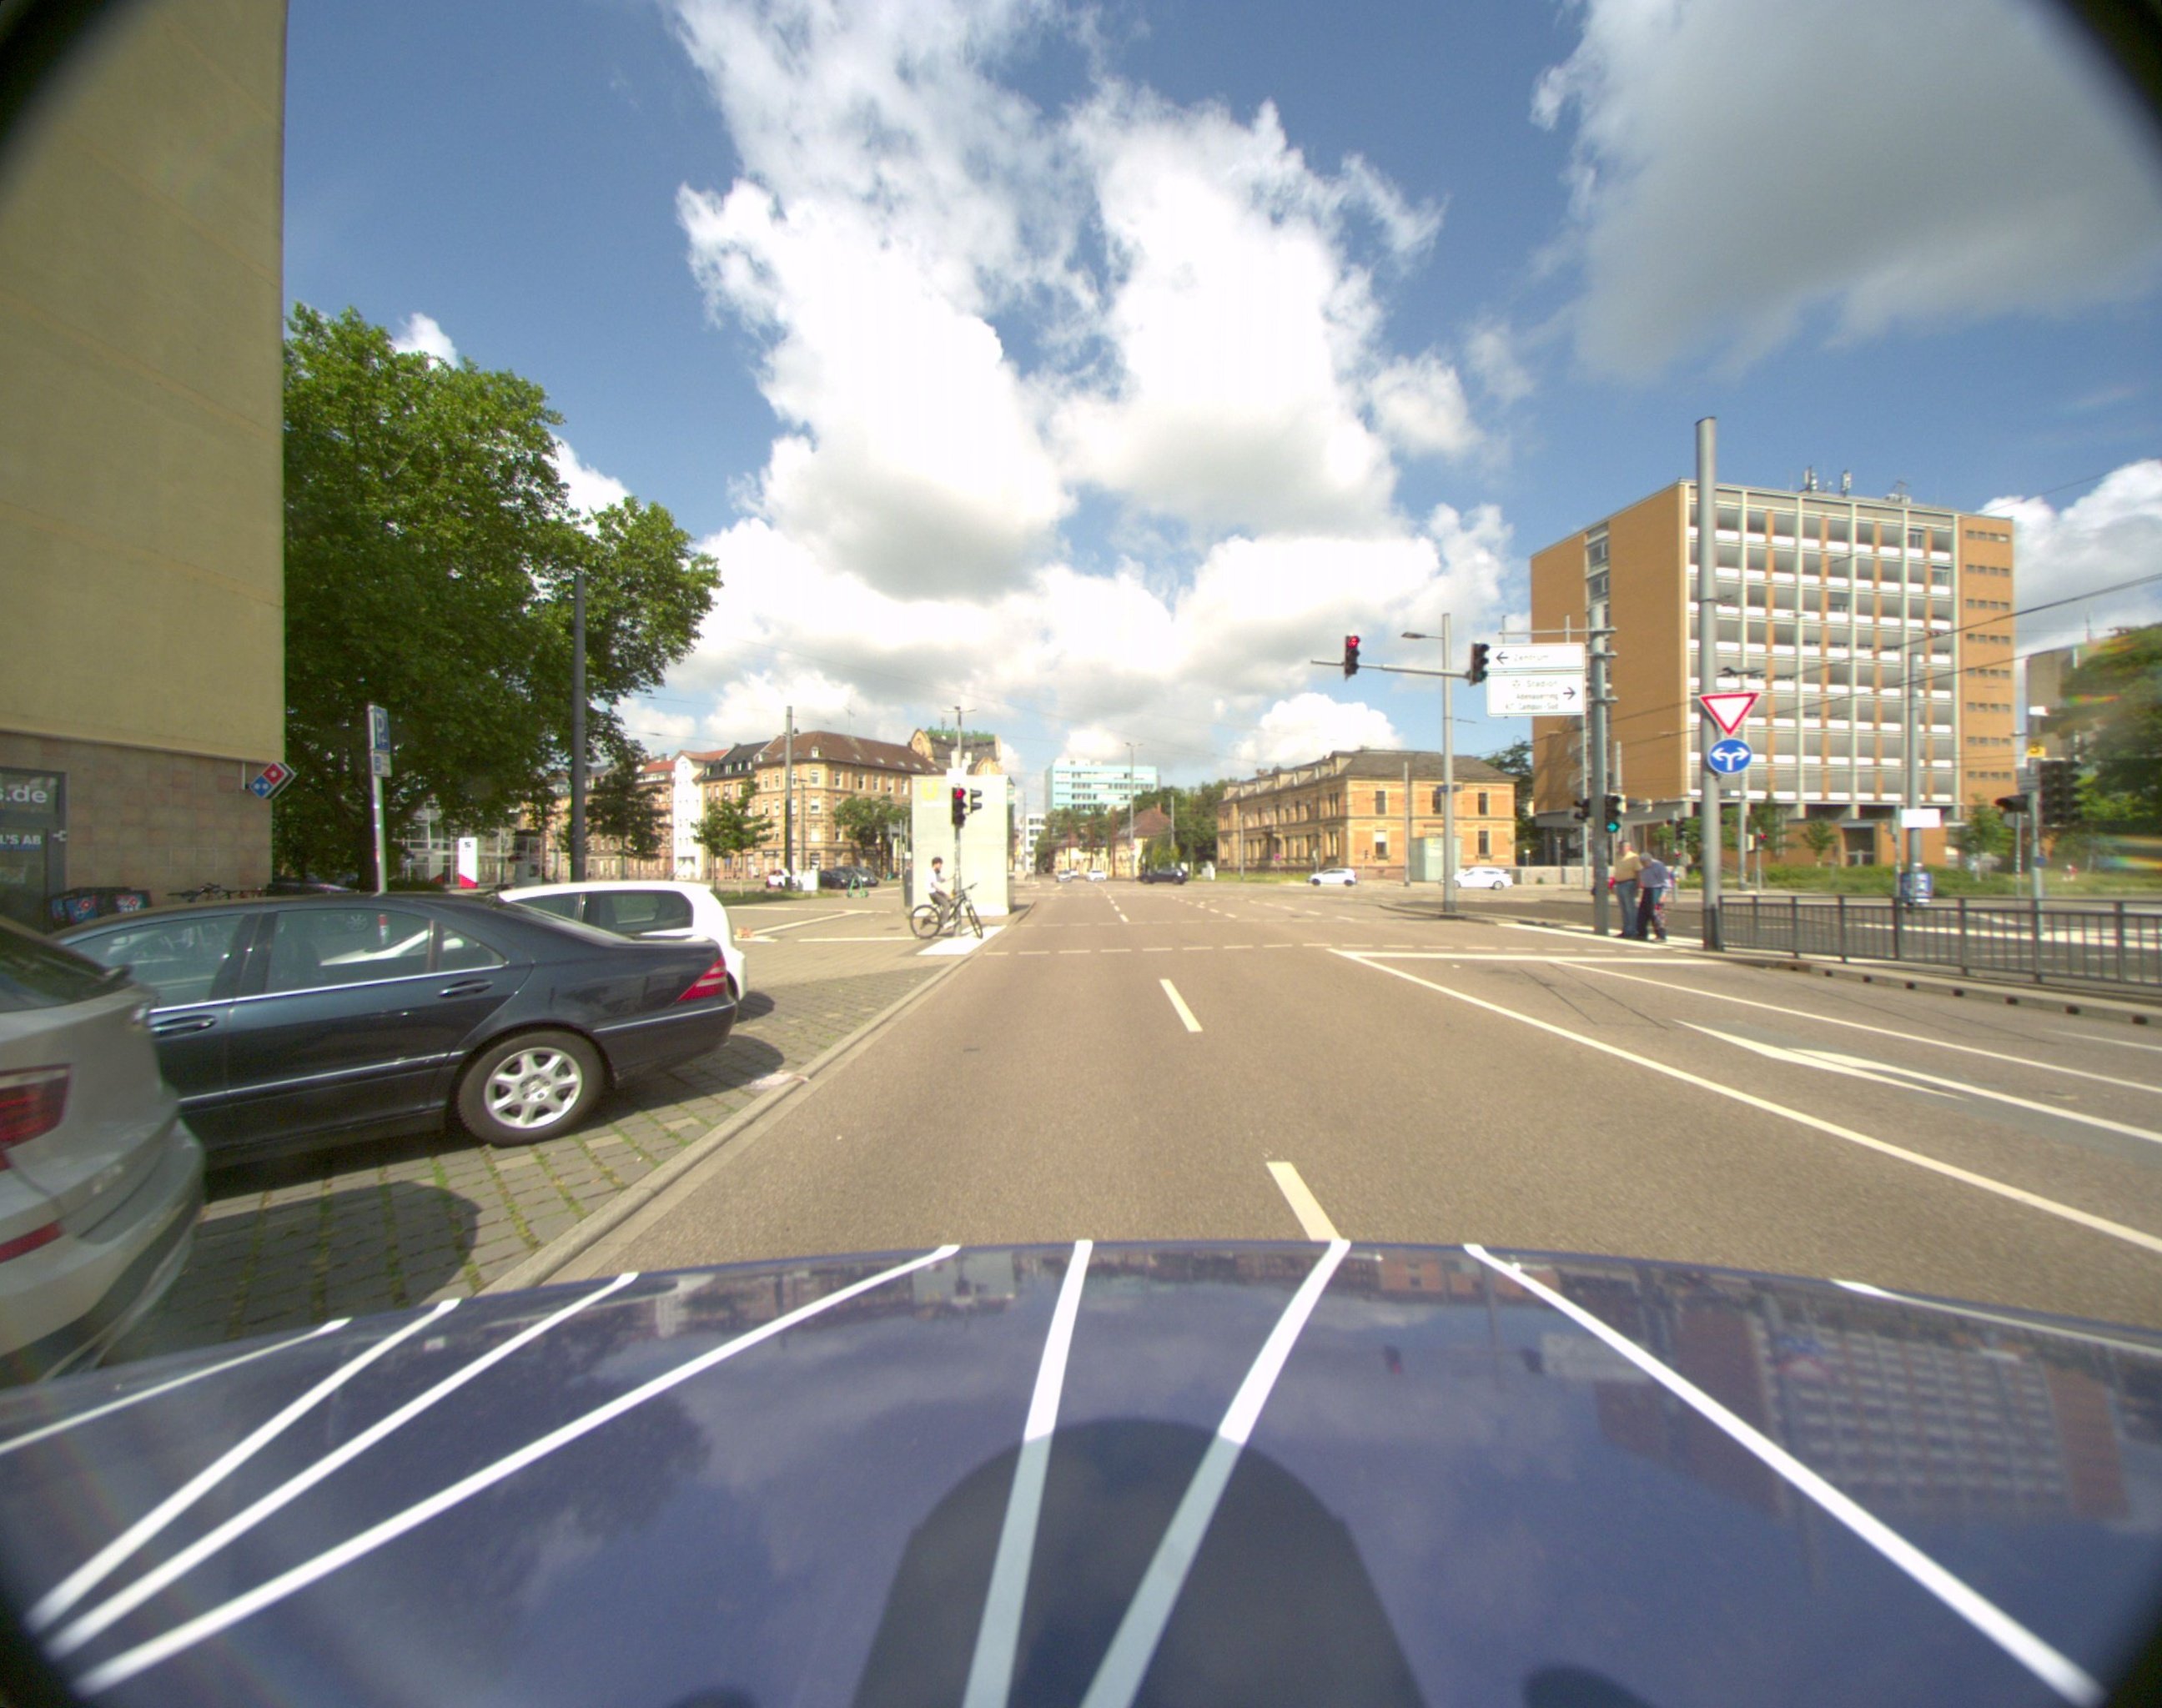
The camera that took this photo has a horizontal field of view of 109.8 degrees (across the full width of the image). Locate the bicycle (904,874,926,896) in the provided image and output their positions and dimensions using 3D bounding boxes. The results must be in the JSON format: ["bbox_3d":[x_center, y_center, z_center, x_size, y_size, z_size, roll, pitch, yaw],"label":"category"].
[{"bbox_3d":[-9.308,1.725,42.592,0.663,1.114,2.332,0,0,1],"label":"bicycle"}]

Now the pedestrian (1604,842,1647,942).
[{"bbox_3d":[11.084,0.765,15.474,0.427,2.002,0.578,0,0,-10],"label":"pedestrian"}]

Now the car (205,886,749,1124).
[{"bbox_3d":[-5.173,1.109,6.994,3.503,1.445,1.774,-1,0,-39],"label":"car"}]

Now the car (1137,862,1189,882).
[{"bbox_3d":[7.101,1.573,65.807,4.203,1.566,1.650,-1,-3,20],"label":"car"}]

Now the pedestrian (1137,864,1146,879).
[{"bbox_3d":[6.046,1.710,75.914,0.543,1.507,0.744,0,0,41],"label":"pedestrian"}]

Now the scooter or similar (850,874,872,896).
[{"bbox_3d":[-11.642,1.641,40.218,1.067,1.189,0.381,1,-3,-36],"label":"scooter or similar"}]

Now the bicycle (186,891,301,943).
[{"bbox_3d":[-13.448,0.989,12.254,0.293,0.734,1.452,0,-1,-2],"label":"bicycle"}]

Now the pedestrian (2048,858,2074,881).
[{"bbox_3d":[67.752,1.093,52.534,0.770,1.569,0.955,0,0,-28],"label":"pedestrian"}]

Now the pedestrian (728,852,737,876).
[{"bbox_3d":[-46.657,1.342,101.678,0.885,3.056,0.729,-2,-3,42],"label":"pedestrian"}]

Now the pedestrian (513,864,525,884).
[{"bbox_3d":[-54.850,1.938,74.144,0.704,2.001,0.871,0,0,-14],"label":"pedestrian"}]

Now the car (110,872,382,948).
[{"bbox_3d":[-19.071,1.194,17.683,1.808,1.505,4.096,0,-1,0],"label":"car"}]

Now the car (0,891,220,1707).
[{"bbox_3d":[-4.336,0.940,0.603,4.606,1.637,2.056,0,-1,-41],"label":"car"}]

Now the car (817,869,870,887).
[{"bbox_3d":[-18.103,1.807,57.775,3.929,1.368,1.875,-1,-1,36],"label":"car"}]

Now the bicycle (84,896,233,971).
[{"bbox_3d":[-12.671,1.058,10.498,0.293,0.917,1.611,0,-1,-8],"label":"bicycle"}]

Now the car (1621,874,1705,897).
[{"bbox_3d":[38.446,2.092,50.255,4.057,1.458,1.649,-1,-2,15],"label":"car"}]

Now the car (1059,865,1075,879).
[{"bbox_3d":[-1.688,2.211,91.485,1.837,1.586,4.001,0,-3,-1],"label":"car"}]

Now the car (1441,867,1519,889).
[{"bbox_3d":[28.114,1.724,53.697,4.665,1.420,1.766,-1,-3,18],"label":"car"}]

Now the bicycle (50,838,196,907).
[{"bbox_3d":[-13.424,0.251,10.704,0.293,0.917,1.452,0,-1,-4],"label":"bicycle"}]

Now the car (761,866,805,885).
[{"bbox_3d":[-24.323,1.752,62.011,3.646,1.460,1.695,-2,-3,38],"label":"car"}]

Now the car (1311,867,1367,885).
[{"bbox_3d":[20.530,1.791,60.501,4.068,1.376,1.592,-2,-3,25],"label":"car"}]

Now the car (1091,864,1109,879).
[{"bbox_3d":[2.186,2.090,88.173,1.956,1.586,4.508,0,-3,-1],"label":"car"}]

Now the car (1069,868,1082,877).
[{"bbox_3d":[-1.211,4.183,172.628,2.001,2.001,3.996,0,-3,-15],"label":"car"}]

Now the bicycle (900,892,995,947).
[{"bbox_3d":[-2.823,1.347,15.986,2.095,1.099,0.545,-2,-3,29],"label":"bicycle"}]

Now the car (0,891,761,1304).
[{"bbox_3d":[-4.483,1.097,4.174,4.608,1.451,1.934,-3,-1,-39],"label":"car"}]

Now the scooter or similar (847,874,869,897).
[{"bbox_3d":[-11.912,1.676,40.647,0.380,1.189,1.067,-2,-3,44],"label":"scooter or similar"}]

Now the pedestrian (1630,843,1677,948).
[{"bbox_3d":[11.085,0.787,14.710,0.503,2.002,0.515,0,0,-11],"label":"pedestrian"}]

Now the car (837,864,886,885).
[{"bbox_3d":[-17.743,1.691,61.310,3.726,1.564,2.005,-2,-3,38],"label":"car"}]

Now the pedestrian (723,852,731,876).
[{"bbox_3d":[-47.147,1.350,101.100,0.885,3.101,0.669,-2,-3,42],"label":"pedestrian"}]

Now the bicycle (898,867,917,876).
[{"bbox_3d":[-21.654,2.206,94.855,2.677,1.159,0.763,-1,0,35],"label":"bicycle"}]

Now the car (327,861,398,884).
[{"bbox_3d":[-55.273,1.431,58.483,3.993,1.714,2.003,-1,-2,11],"label":"car"}]

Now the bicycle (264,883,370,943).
[{"bbox_3d":[-12.617,0.951,12.595,0.293,0.878,1.464,0,1,-1],"label":"bicycle"}]

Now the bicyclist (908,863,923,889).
[{"bbox_3d":[-9.309,1.247,42.690,0.655,1.428,0.743,0,0,1],"label":"bicyclist"}]

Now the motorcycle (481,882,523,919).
[{"bbox_3d":[-18.097,1.417,23.736,0.976,1.024,2.288,-2,0,-38],"label":"motorcycle"}]

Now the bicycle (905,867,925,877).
[{"bbox_3d":[-20.939,2.287,95.844,2.677,1.158,0.763,-2,-3,35],"label":"bicycle"}]

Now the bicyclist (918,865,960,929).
[{"bbox_3d":[-2.995,0.899,16.019,0.782,1.327,0.396,-2,-2,30],"label":"bicyclist"}]
